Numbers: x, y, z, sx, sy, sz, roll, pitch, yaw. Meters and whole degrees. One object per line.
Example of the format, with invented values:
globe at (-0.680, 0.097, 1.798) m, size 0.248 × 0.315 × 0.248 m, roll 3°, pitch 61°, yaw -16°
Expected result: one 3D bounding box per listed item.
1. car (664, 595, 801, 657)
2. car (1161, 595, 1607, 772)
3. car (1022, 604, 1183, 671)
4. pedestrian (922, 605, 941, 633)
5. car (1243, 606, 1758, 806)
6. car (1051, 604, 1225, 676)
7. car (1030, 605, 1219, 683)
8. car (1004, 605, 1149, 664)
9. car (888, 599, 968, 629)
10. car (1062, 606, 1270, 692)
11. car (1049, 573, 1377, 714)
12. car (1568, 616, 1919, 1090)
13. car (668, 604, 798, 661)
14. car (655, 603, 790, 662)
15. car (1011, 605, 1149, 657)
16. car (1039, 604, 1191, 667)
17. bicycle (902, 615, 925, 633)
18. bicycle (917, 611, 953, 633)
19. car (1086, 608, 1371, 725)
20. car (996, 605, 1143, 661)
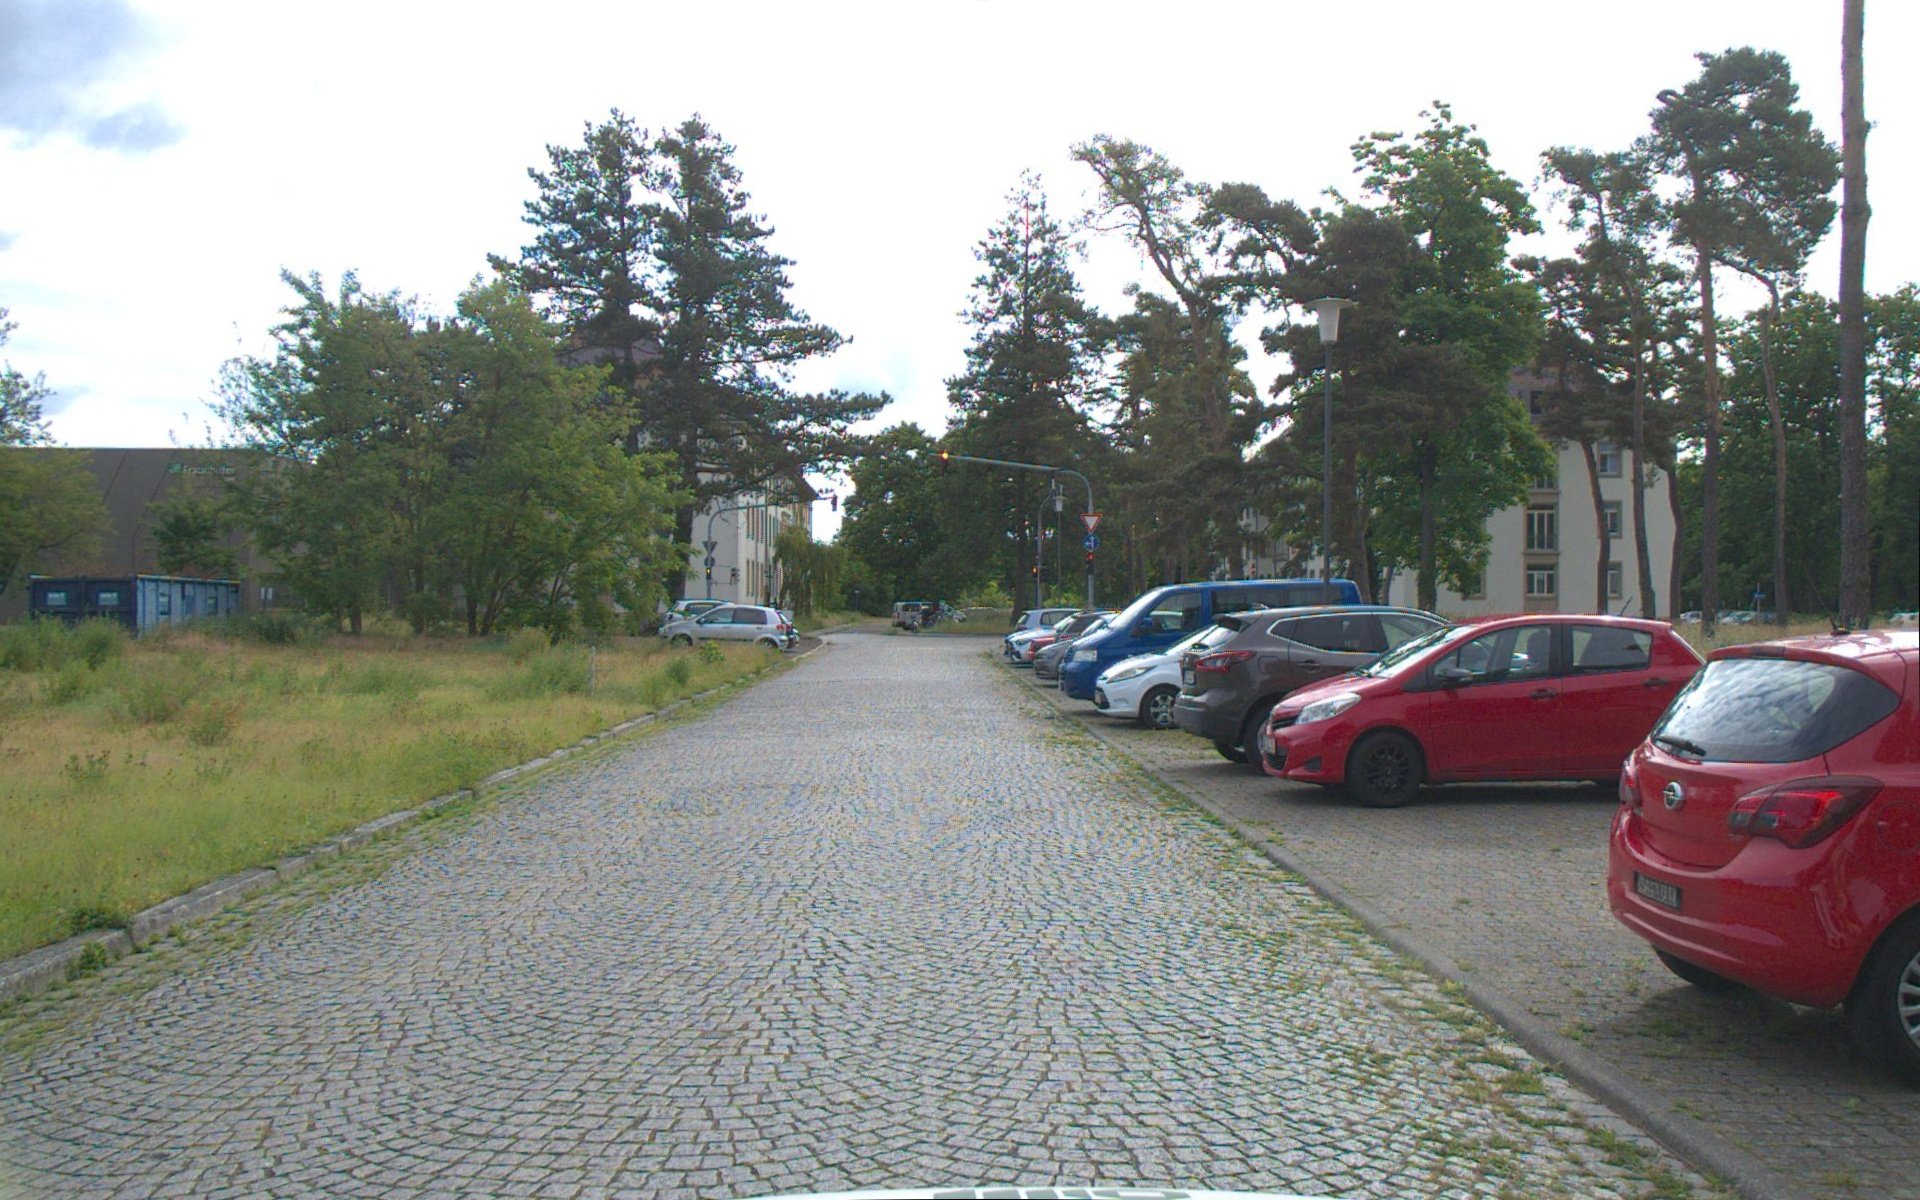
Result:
car at (-7.296, 0.831, 53.239) m, size 4.177 × 1.873 × 1.743 m, roll -1°, pitch -1°, yaw -2°
car at (4.134, 0.787, 16.513) m, size 3.949 × 1.580 × 1.749 m, roll -1°, pitch -1°, yaw -4°
car at (3.349, 0.869, 39.212) m, size 3.599 × 1.475 × 1.523 m, roll -1°, pitch -1°, yaw -4°
pedestrian at (-1.704, 1.102, 98.370) m, size 1.013 × 1.642 × 0.756 m, roll 1°, pitch -1°, yaw -6°
car at (4.408, 0.835, 13.870) m, size 3.715 × 1.486 × 1.750 m, roll -1°, pitch -1°, yaw -2°
car at (3.898, 0.879, 36.524) m, size 3.599 × 1.475 × 1.523 m, roll -1°, pitch -1°, yaw -4°
car at (3.299, 0.879, 33.515) m, size 3.599 × 1.475 × 1.523 m, roll -1°, pitch -1°, yaw -4°
car at (3.066, 0.895, 43.741) m, size 3.601 × 1.446 × 1.522 m, roll -1°, pitch -1°, yaw -6°
car at (-2.246, 0.979, 115.924) m, size 5.348 × 2.049 × 2.263 m, roll 1°, pitch -1°, yaw -11°
car at (3.795, 0.899, 30.752) m, size 3.599 × 1.475 × 1.523 m, roll -1°, pitch -1°, yaw -4°
car at (3.815, 0.642, 25.475) m, size 4.660 × 1.989 × 1.930 m, roll -1°, pitch -1°, yaw -4°
car at (4.525, 0.796, 6.283) m, size 3.749 × 1.486 × 1.778 m, roll -1°, pitch -1°, yaw -3°
car at (-6.866, 0.981, 50.264) m, size 3.745 × 1.600 × 1.563 m, roll -1°, pitch -1°, yaw -2°
car at (-6.837, 0.930, 47.848) m, size 3.747 × 1.600 × 1.563 m, roll -1°, pitch -1°, yaw -5°
car at (3.549, 0.910, 49.264) m, size 3.891 × 1.446 × 1.618 m, roll -1°, pitch -1°, yaw -6°
car at (3.860, 0.887, 41.514) m, size 3.599 × 1.475 × 1.523 m, roll -1°, pitch -1°, yaw -4°
bicycle at (-2.660, 1.370, 93.923) m, size 0.613 × 0.961 × 1.647 m, roll 1°, pitch -1°, yaw -29°
bicycle at (-1.500, 1.312, 98.032) m, size 2.095 × 1.236 × 0.621 m, roll 1°, pitch -1°, yaw -6°
car at (3.651, 0.886, 22.874) m, size 3.600 × 1.475 × 1.613 m, roll -1°, pitch -1°, yaw -4°
car at (3.067, 0.915, 46.597) m, size 3.891 × 1.446 × 1.618 m, roll -1°, pitch -1°, yaw -6°
